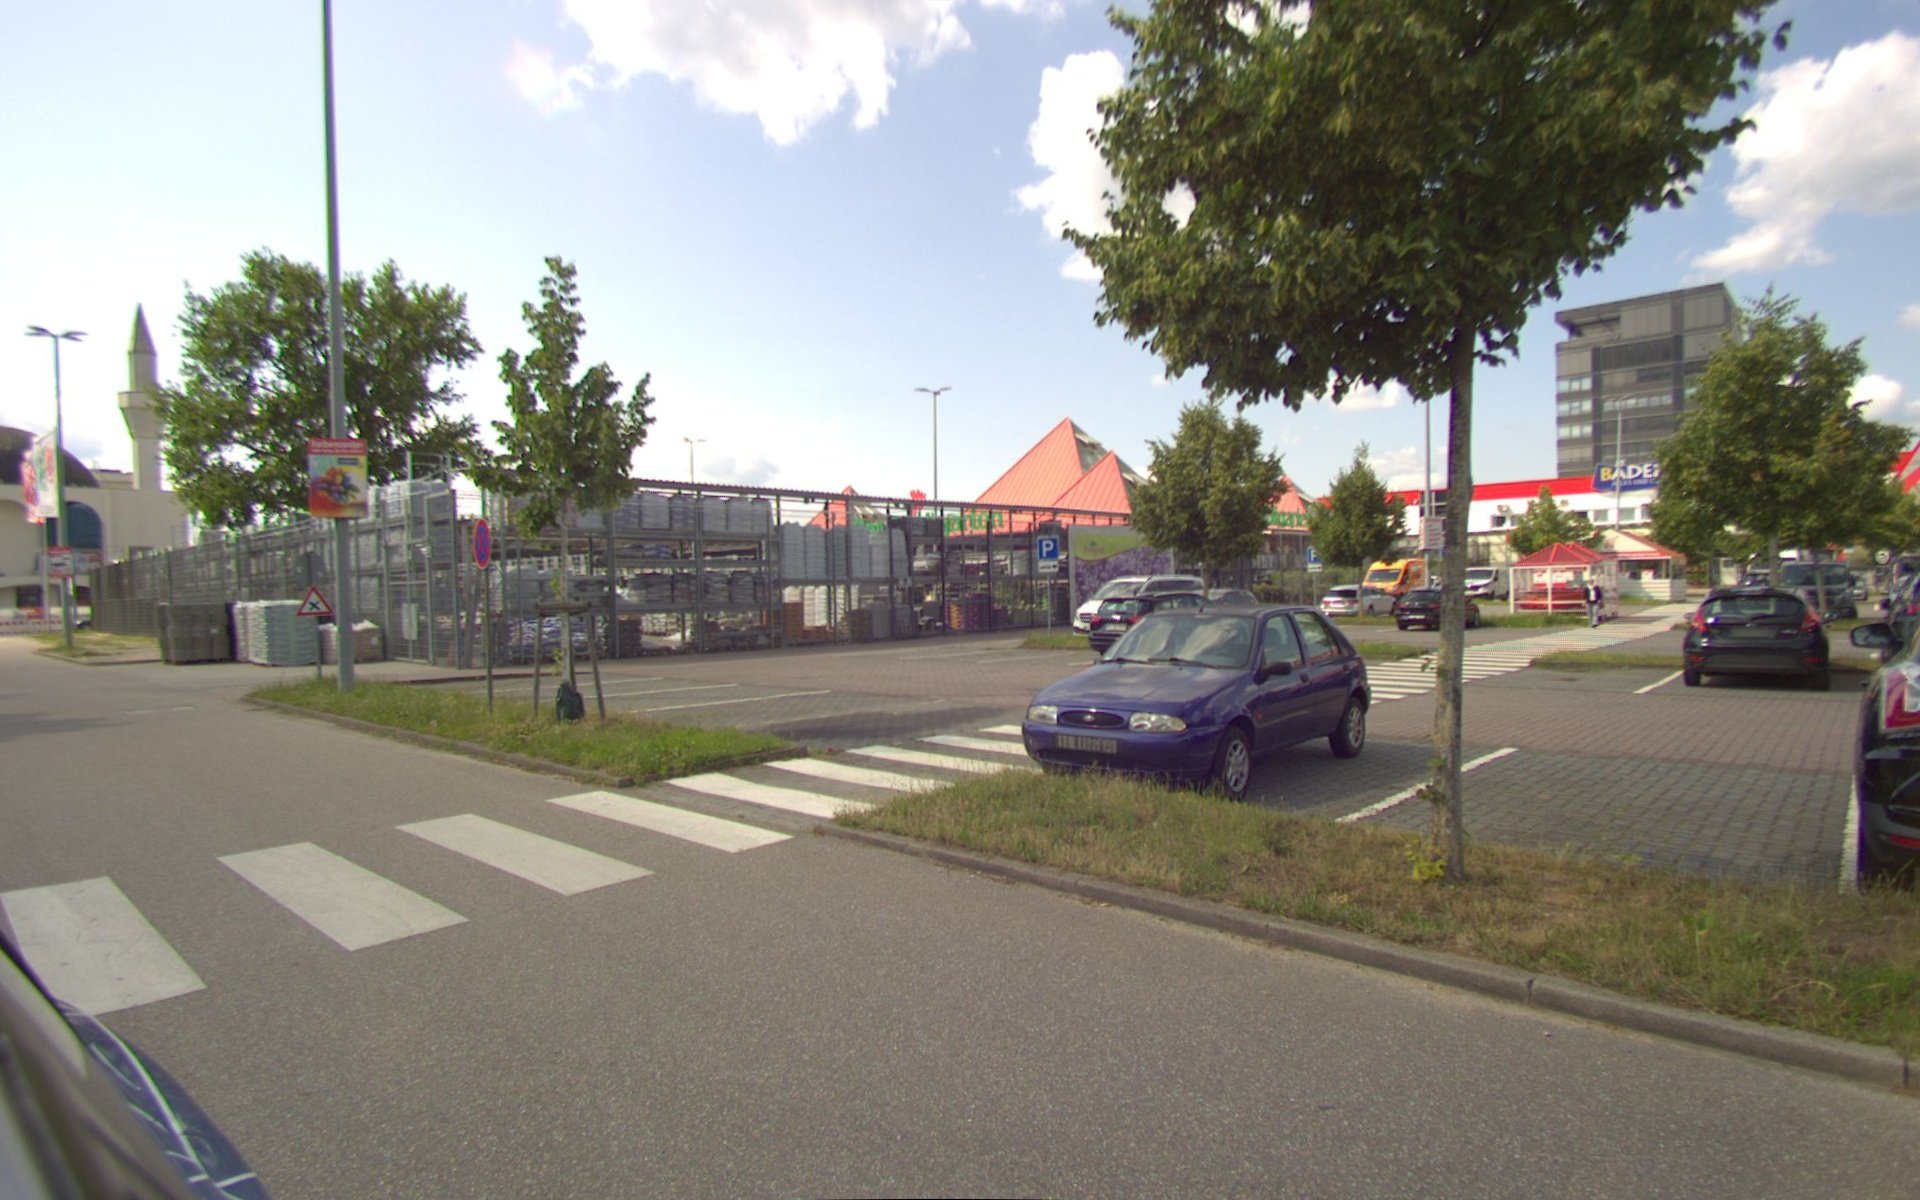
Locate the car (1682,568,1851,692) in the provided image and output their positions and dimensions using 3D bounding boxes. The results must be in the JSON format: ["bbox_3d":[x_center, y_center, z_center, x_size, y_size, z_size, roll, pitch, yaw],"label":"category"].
[{"bbox_3d":[12.068,0.371,15.273,1.781,1.636,3.660,-1,0,37],"label":"car"}]

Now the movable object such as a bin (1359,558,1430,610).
[{"bbox_3d":[22.600,-0.820,52.470,2.127,2.512,5.270,-1,0,38],"label":"movable object such as a bin"}]

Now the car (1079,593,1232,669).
[{"bbox_3d":[4.202,0.606,21.443,1.810,1.415,3.311,-1,0,40],"label":"car"}]

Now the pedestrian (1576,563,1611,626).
[{"bbox_3d":[20.780,-0.195,33.210,0.817,2.029,0.903,-1,0,41],"label":"pedestrian"}]

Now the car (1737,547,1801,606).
[{"bbox_3d":[38.018,-1.079,47.650,2.236,2.656,4.275,0,1,38],"label":"car"}]

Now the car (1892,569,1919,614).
[{"bbox_3d":[36.337,-0.310,38.003,1.694,1.626,2.623,3,3,38],"label":"car"}]

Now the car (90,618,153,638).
[{"bbox_3d":[-64.558,2.135,77.945,3.656,1.377,1.652,-1,0,-45],"label":"car"}]

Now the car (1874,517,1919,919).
[{"bbox_3d":[5.788,0.429,4.971,1.737,1.636,3.905,-1,0,45],"label":"car"}]

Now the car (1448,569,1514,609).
[{"bbox_3d":[28.219,-0.612,54.773,2.000,2.028,4.741,3,3,42],"label":"car"}]

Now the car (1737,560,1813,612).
[{"bbox_3d":[33.592,-0.565,41.667,2.001,2.029,3.941,-1,0,45],"label":"car"}]

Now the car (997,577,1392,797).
[{"bbox_3d":[2.103,0.527,8.332,1.620,1.378,3.712,-1,0,41],"label":"car"}]

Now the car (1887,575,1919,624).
[{"bbox_3d":[29.087,-0.045,30.347,1.744,1.397,3.509,-1,0,45],"label":"car"}]

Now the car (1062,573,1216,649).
[{"bbox_3d":[5.353,0.266,29.807,2.000,2.029,5.114,-1,0,43],"label":"car"}]

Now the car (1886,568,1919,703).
[{"bbox_3d":[13.500,0.378,13.333,1.783,1.636,4.029,-1,0,41],"label":"car"}]
